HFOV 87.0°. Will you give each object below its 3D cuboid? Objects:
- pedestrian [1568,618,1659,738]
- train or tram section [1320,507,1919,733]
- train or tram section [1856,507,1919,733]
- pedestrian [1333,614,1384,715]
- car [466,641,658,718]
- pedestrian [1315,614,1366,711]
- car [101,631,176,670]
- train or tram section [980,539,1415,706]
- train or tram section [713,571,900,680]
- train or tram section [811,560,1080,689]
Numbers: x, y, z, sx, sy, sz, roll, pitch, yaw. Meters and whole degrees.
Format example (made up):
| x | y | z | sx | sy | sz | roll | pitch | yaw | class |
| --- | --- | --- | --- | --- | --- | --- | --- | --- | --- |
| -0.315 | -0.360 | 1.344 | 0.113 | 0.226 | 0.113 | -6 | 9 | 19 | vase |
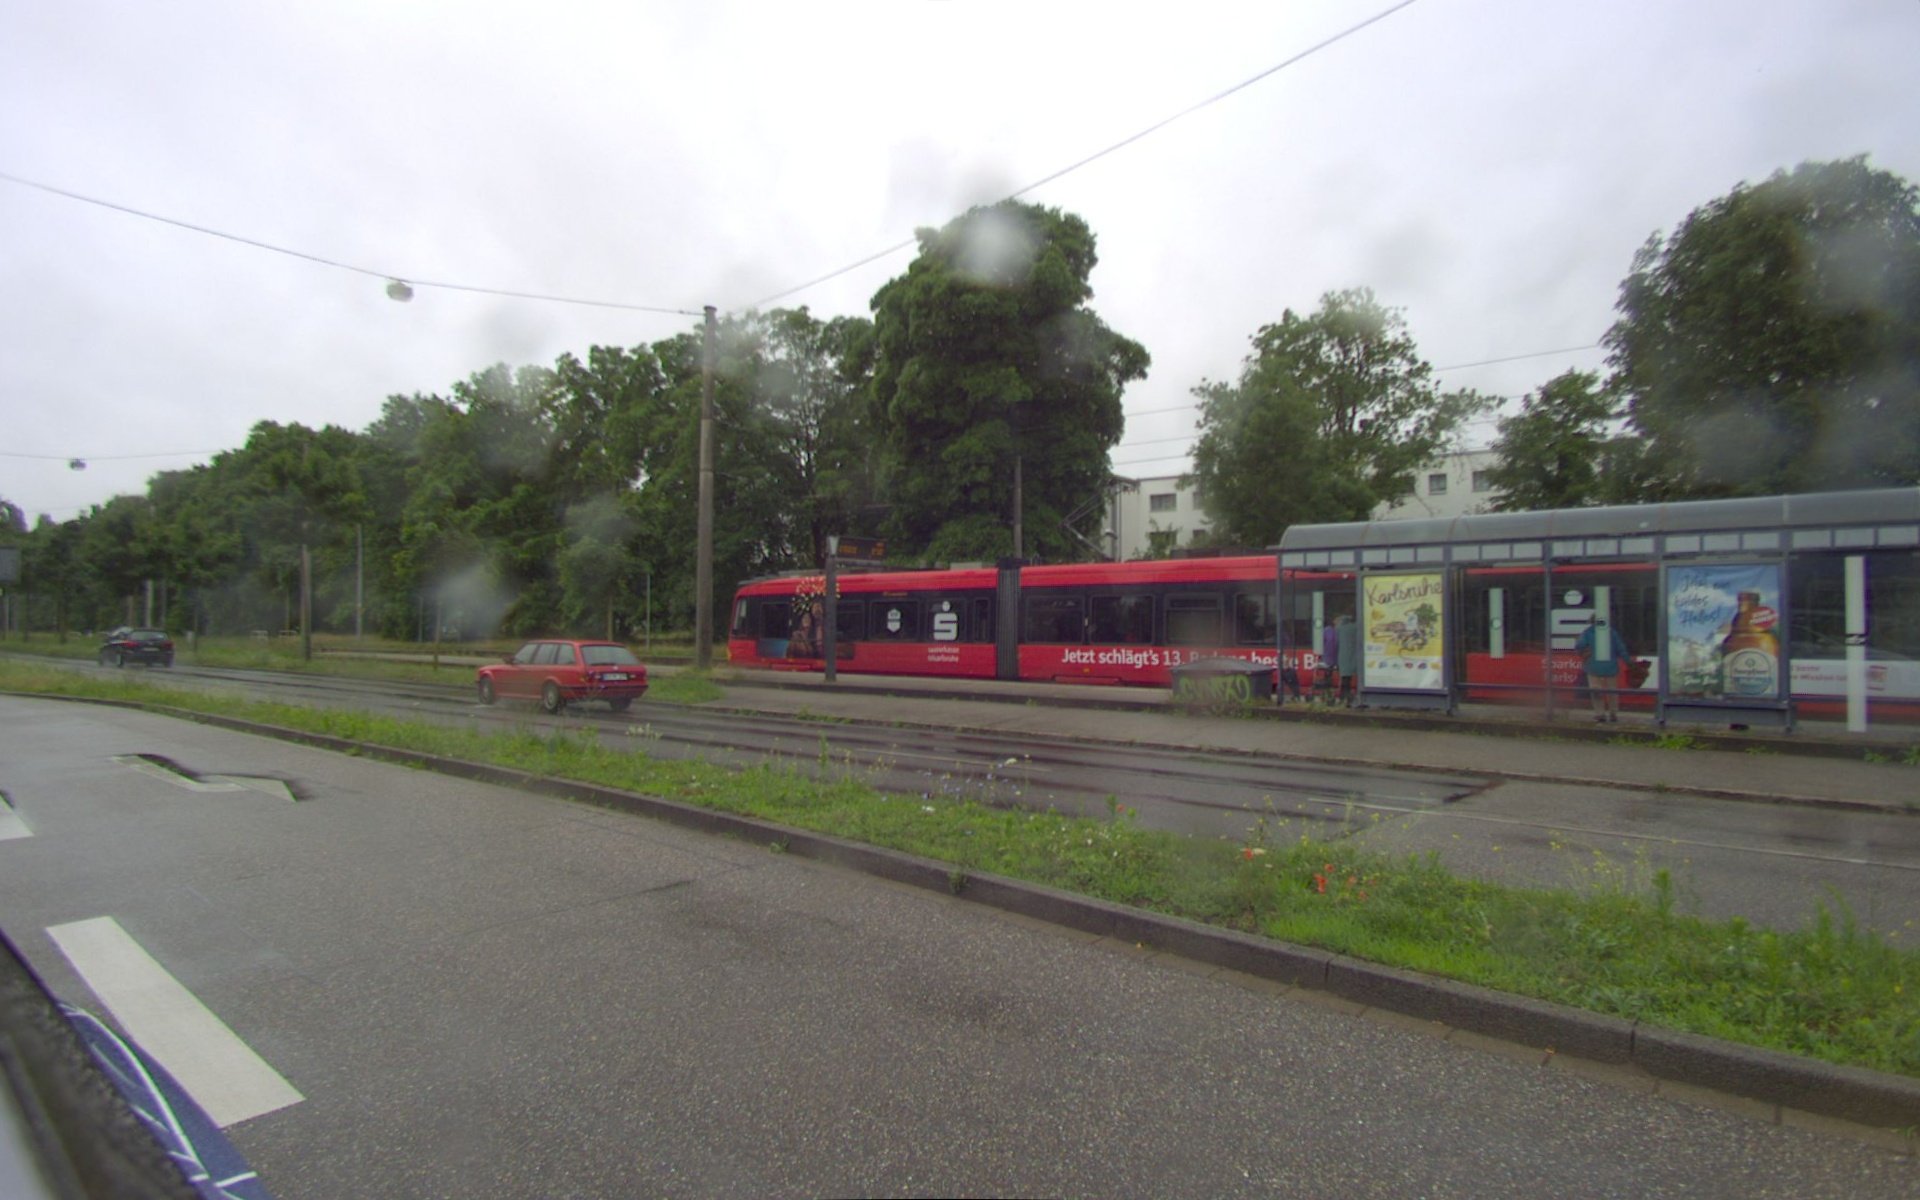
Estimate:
| x | y | z | sx | sy | sz | roll | pitch | yaw | class |
| --- | --- | --- | --- | --- | --- | --- | --- | --- | --- |
| 9.141 | 1.059 | 14.158 | 0.929 | 1.609 | 0.795 | -2 | -2 | 43 | pedestrian |
| 12.242 | 0.440 | 19.634 | 9.273 | 3.416 | 3.496 | -2 | -3 | 41 | train or tram section |
| 18.685 | 0.273 | 13.987 | 9.273 | 3.415 | 3.496 | -2 | -3 | 41 | train or tram section |
| 6.394 | 1.020 | 16.255 | 0.437 | 1.574 | 0.603 | -1 | 0 | -35 | pedestrian |
| -8.037 | 1.536 | 20.279 | 4.246 | 1.371 | 1.664 | -1 | -4 | 39 | car |
| 6.361 | 1.029 | 16.925 | 0.514 | 1.574 | 0.603 | -1 | 0 | -35 | pedestrian |
| -32.954 | 1.986 | 40.551 | 3.818 | 1.448 | 1.718 | -1 | -1 | 41 | car |
| 5.522 | 0.614 | 25.480 | 10.255 | 3.427 | 3.496 | -2 | -3 | 41 | train or tram section |
| -5.364 | 0.901 | 35.010 | 5.766 | 3.444 | 3.496 | -2 | -3 | 41 | train or tram section |
| -0.607 | 0.773 | 30.871 | 7.898 | 3.438 | 3.496 | -2 | -3 | 41 | train or tram section |
